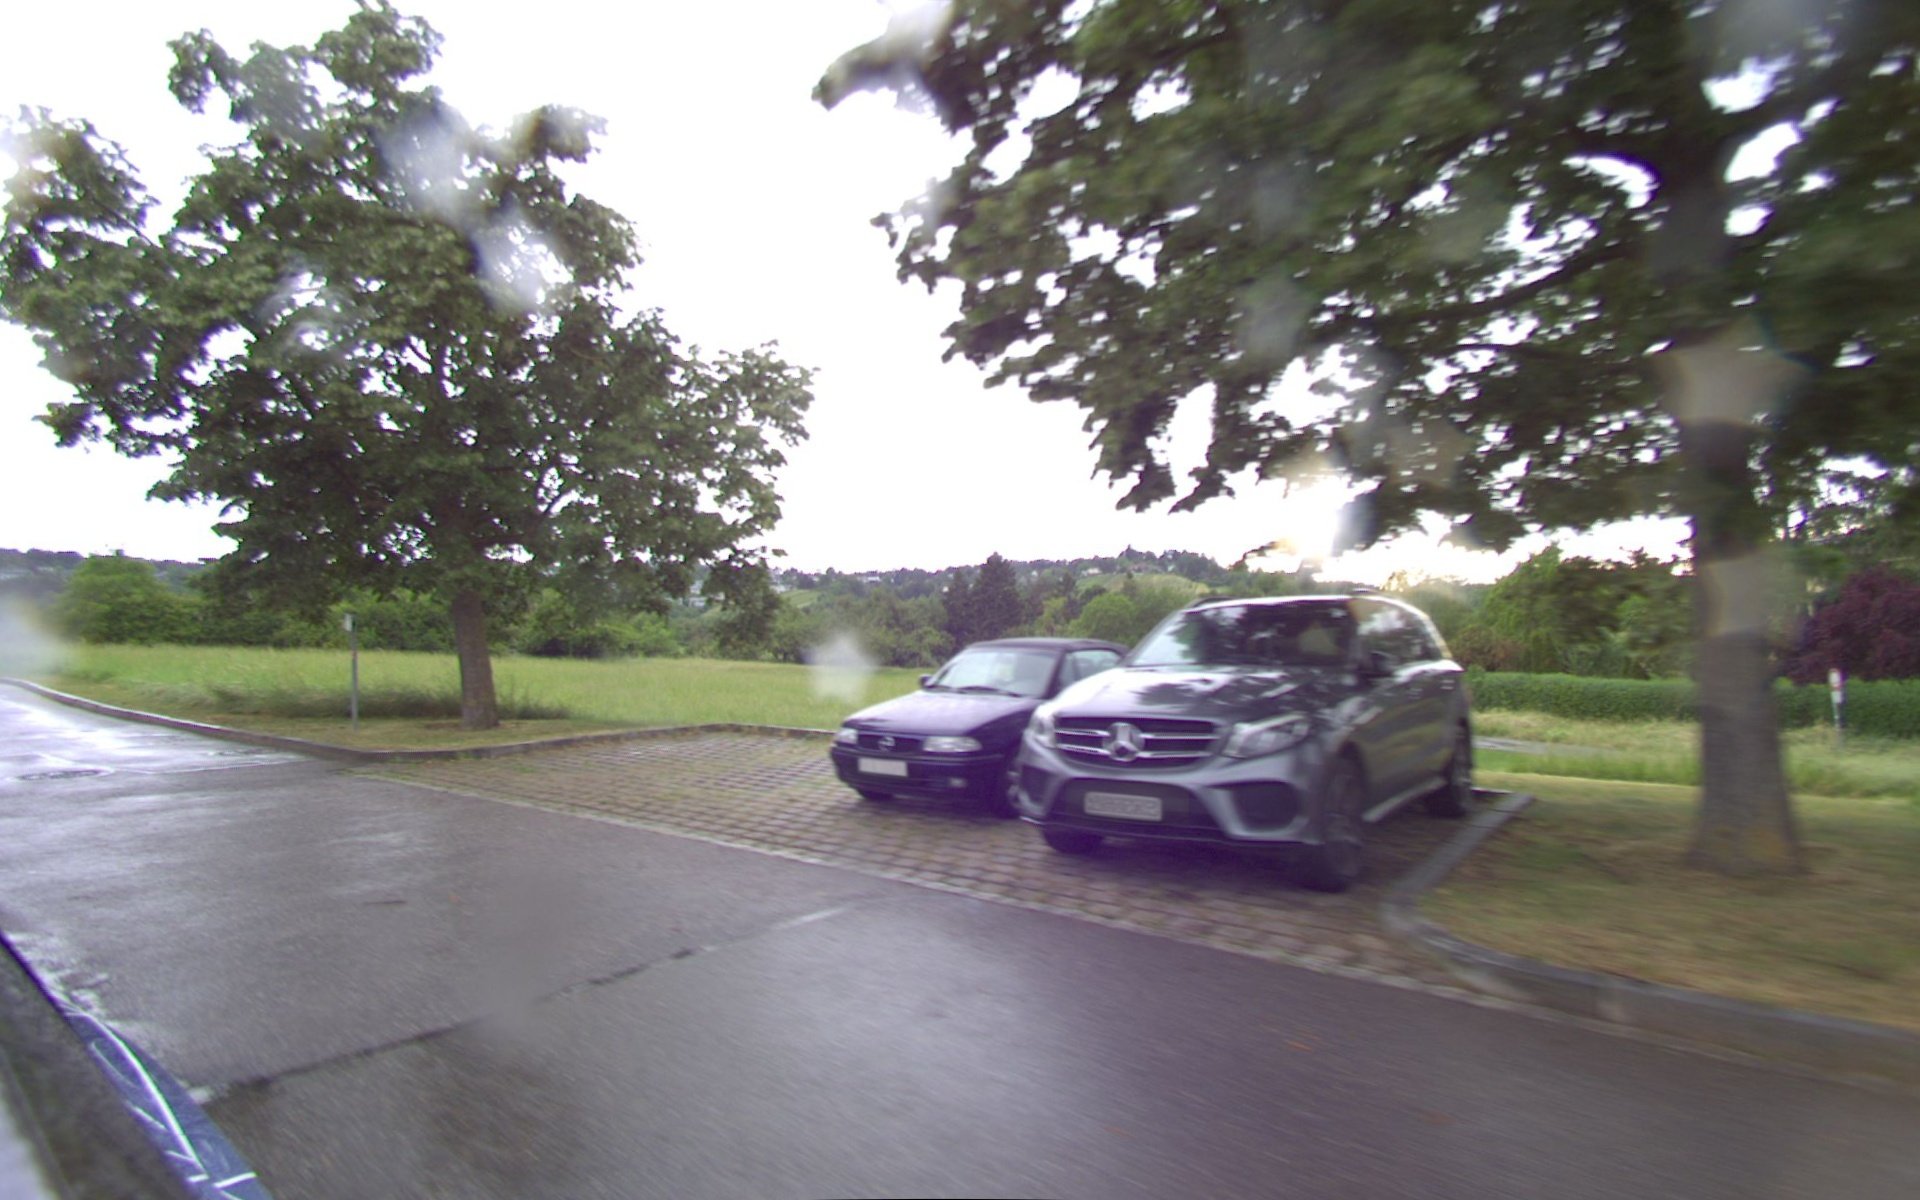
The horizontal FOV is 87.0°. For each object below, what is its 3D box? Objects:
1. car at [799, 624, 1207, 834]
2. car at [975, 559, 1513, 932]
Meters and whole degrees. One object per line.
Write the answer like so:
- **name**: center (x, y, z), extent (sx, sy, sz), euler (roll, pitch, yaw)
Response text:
- **car**: center (0.637, 0.973, 9.310), extent (1.770, 1.442, 4.175), euler (0, -2, 35)
- **car**: center (2.258, 0.773, 7.053), extent (2.043, 1.735, 4.323), euler (0, -3, 40)
